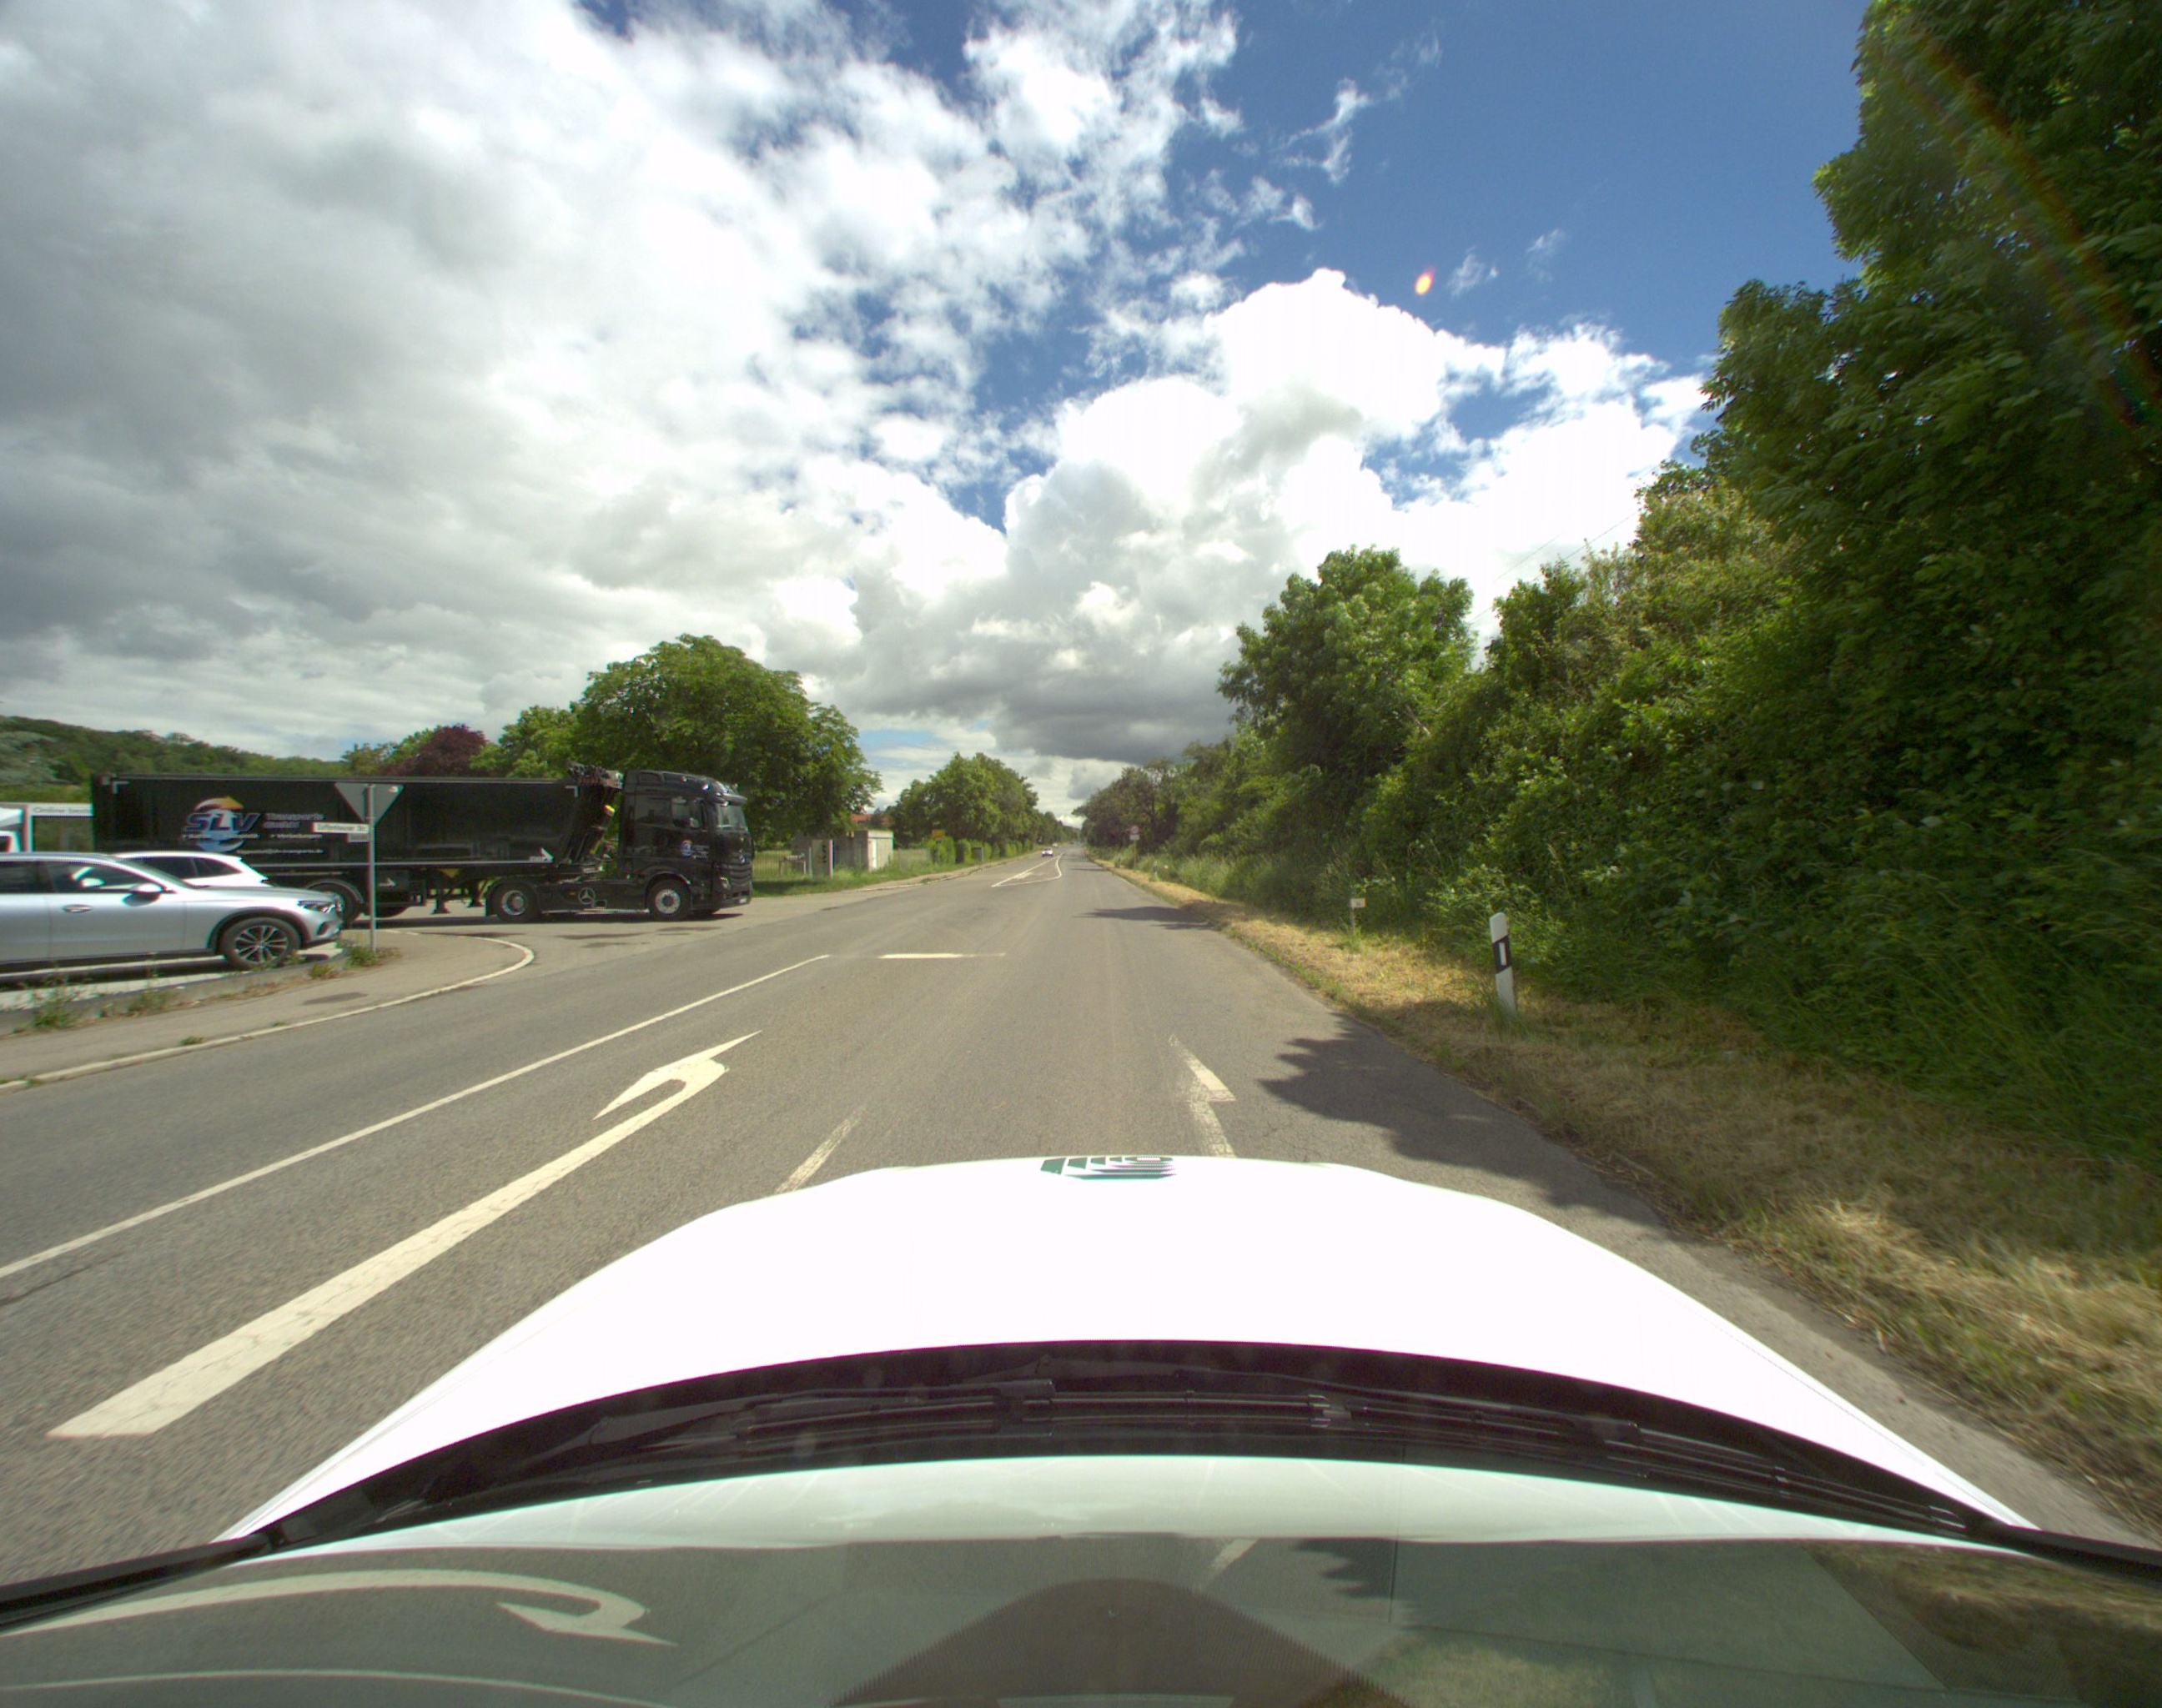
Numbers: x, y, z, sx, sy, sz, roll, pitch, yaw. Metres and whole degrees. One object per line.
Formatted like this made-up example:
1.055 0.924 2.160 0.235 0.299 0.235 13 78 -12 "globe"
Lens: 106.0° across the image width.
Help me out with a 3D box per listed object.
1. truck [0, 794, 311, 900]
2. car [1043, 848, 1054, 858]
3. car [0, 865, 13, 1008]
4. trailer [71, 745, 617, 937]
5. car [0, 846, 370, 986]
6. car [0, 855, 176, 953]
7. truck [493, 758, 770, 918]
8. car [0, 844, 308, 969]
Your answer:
-31.245 -0.219 26.481 2.633 3.049 8.638 -1 0 23 "truck"
-5.081 -0.166 126.478 1.656 1.432 3.690 -2 1 -2 "car"
-12.723 0.910 6.724 4.339 1.465 1.781 -1 2 -28 "car"
-17.330 -0.358 20.220 9.455 4.083 3.302 -1 0 -16 "trailer"
-12.644 0.709 10.747 1.963 1.605 4.770 1 1 44 "car"
-18.664 0.862 13.533 1.791 1.601 4.766 -2 0 1 "car"
-11.552 -0.412 21.458 5.545 3.823 2.979 -1 0 -5 "truck"
-15.836 0.716 13.312 1.923 1.721 4.601 -1 0 1 "car"
